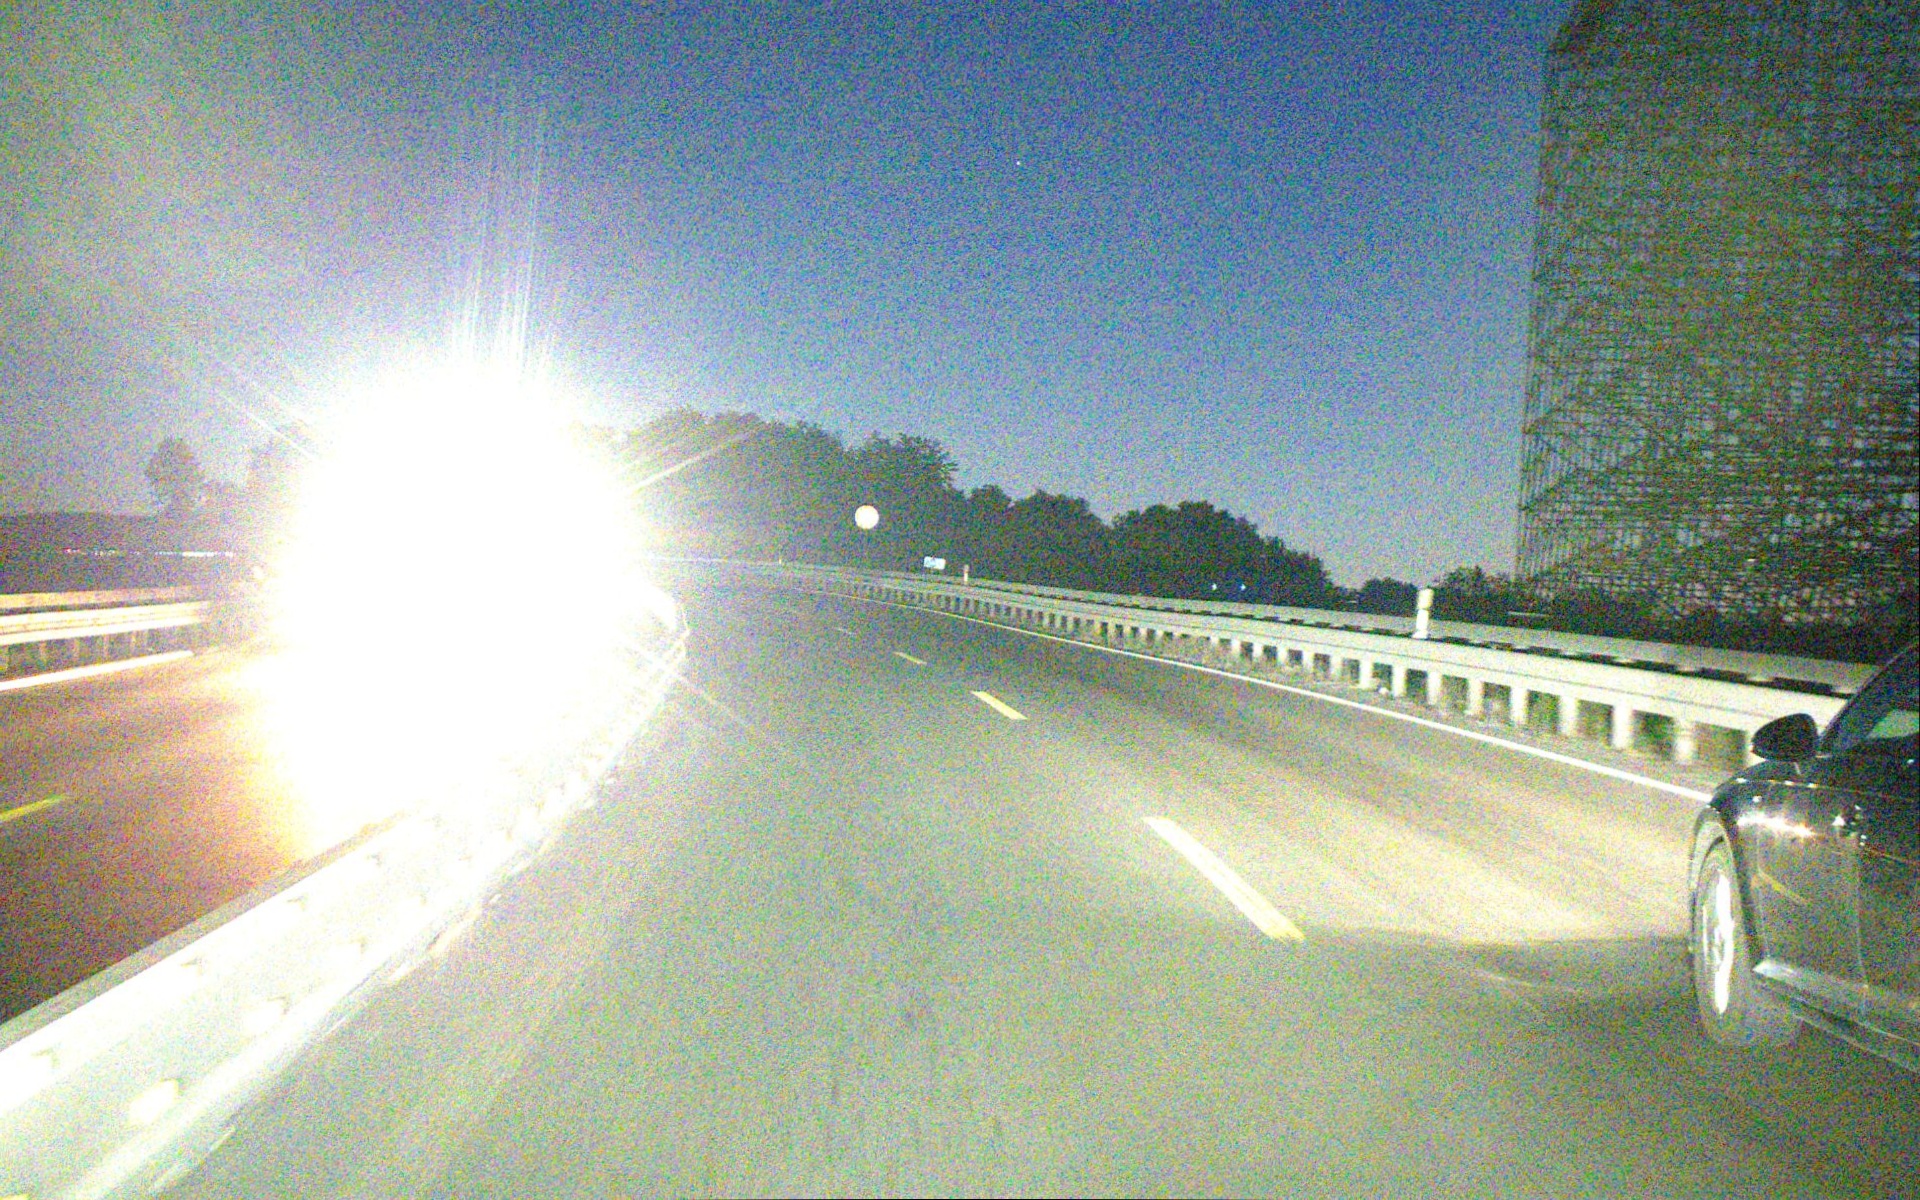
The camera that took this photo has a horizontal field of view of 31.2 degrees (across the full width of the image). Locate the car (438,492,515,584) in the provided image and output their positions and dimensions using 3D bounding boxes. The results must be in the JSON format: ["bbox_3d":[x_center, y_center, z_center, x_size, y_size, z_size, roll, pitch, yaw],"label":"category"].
[{"bbox_3d":[-17.011,-2.141,121.275,2.485,3.095,7.387,0,0,-7],"label":"car"}]

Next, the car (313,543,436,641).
[{"bbox_3d":[-8.999,-0.146,53.055,1.684,1.454,4.201,0,1,-7],"label":"car"}]

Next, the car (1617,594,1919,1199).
[{"bbox_3d":[3.185,0.718,9.217,1.808,1.422,4.875,0,1,-1],"label":"car"}]
